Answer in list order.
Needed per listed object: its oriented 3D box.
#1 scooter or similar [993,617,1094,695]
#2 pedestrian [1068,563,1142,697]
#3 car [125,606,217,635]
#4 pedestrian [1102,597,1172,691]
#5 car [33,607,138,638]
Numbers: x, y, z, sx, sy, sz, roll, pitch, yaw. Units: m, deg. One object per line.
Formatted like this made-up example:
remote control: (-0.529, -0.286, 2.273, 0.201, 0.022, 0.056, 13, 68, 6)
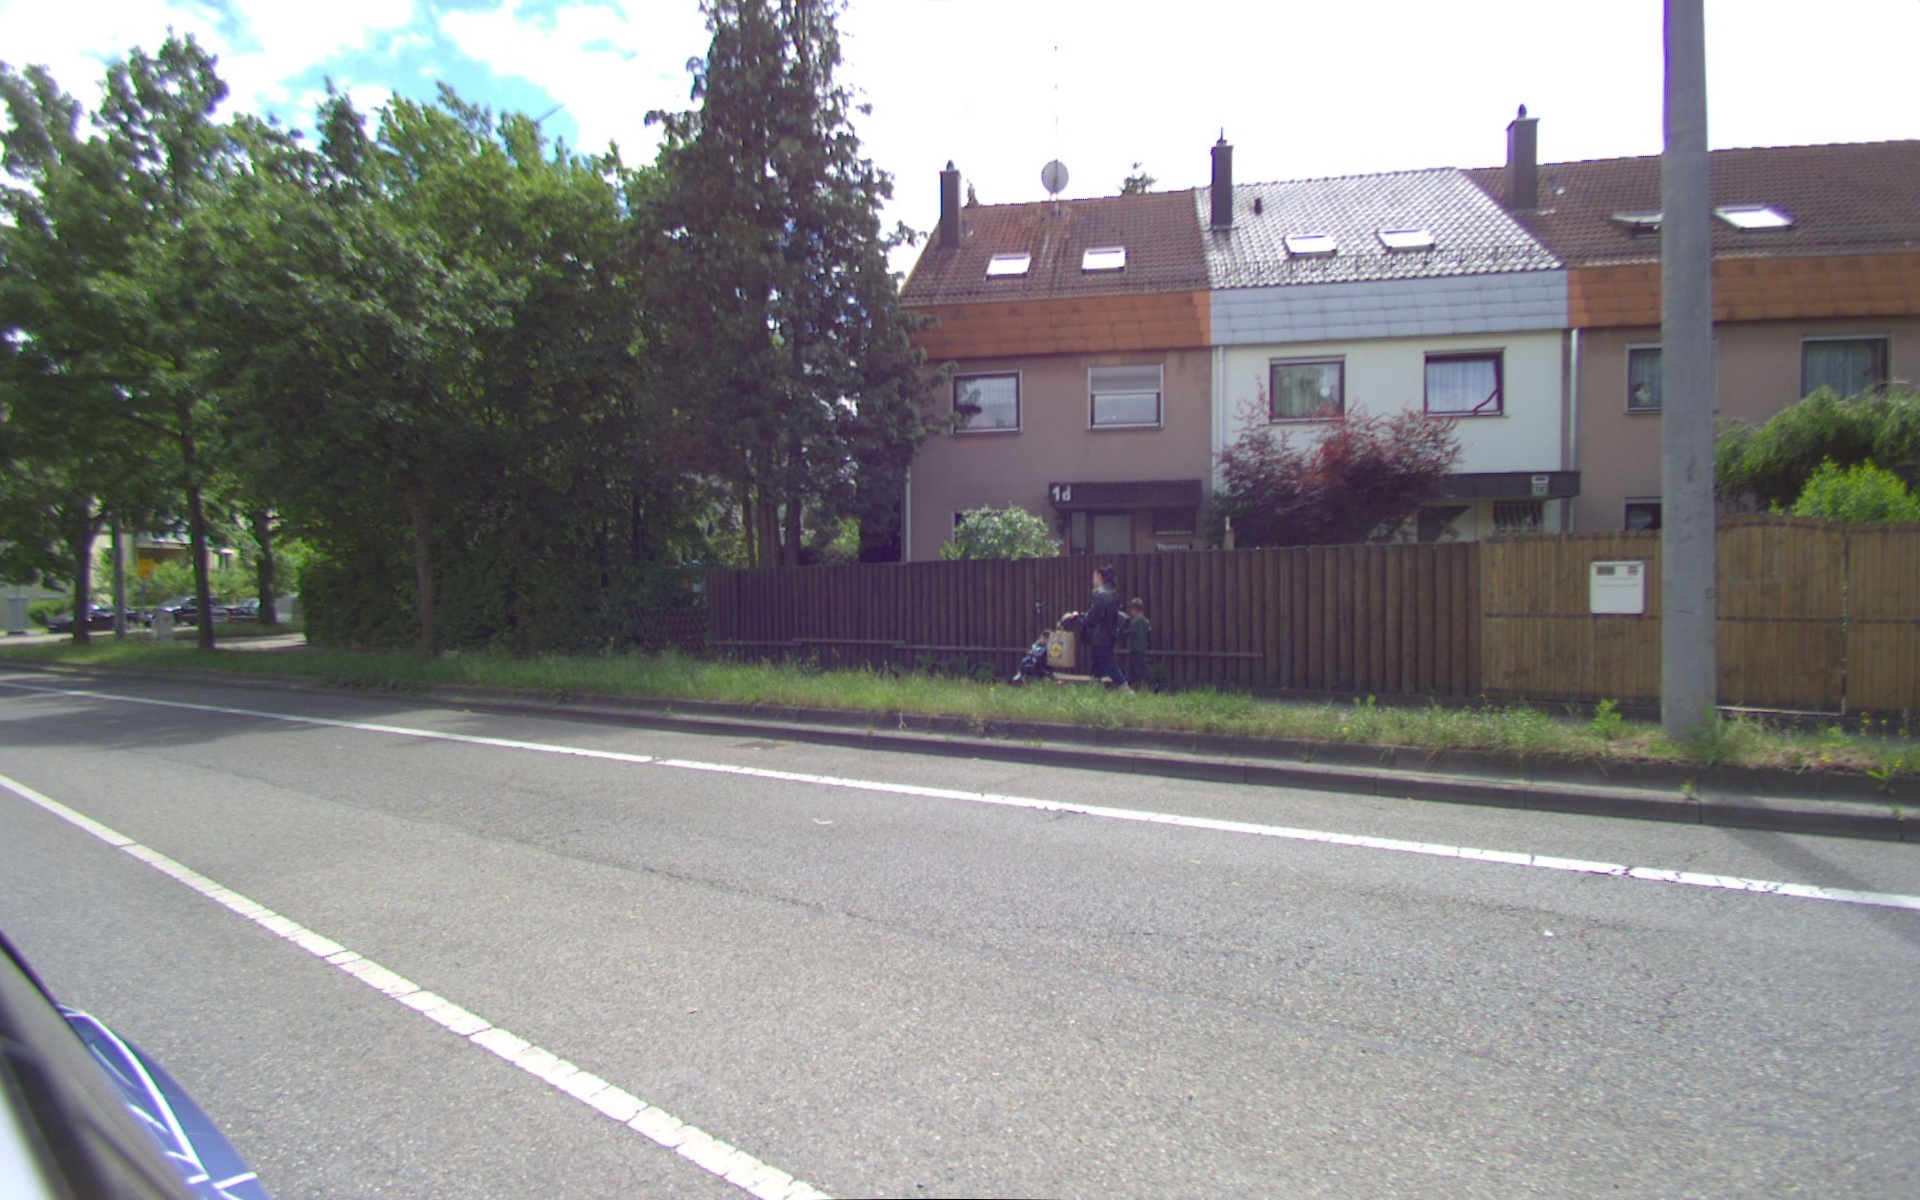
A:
scooter or similar: (1.004, 0.656, 12.187, 1.029, 0.871, 0.630, -1, 1, 39)
pedestrian: (1.676, 0.334, 11.686, 0.641, 1.492, 0.549, -1, 1, 38)
car: (-46.856, 1.197, 60.173, 1.979, 1.519, 3.985, -1, 1, 12)
pedestrian: (2.152, 0.524, 12.295, 0.641, 1.094, 0.549, -1, 1, 38)
car: (-47.611, 1.187, 55.218, 1.978, 1.519, 3.988, -1, 1, 10)
